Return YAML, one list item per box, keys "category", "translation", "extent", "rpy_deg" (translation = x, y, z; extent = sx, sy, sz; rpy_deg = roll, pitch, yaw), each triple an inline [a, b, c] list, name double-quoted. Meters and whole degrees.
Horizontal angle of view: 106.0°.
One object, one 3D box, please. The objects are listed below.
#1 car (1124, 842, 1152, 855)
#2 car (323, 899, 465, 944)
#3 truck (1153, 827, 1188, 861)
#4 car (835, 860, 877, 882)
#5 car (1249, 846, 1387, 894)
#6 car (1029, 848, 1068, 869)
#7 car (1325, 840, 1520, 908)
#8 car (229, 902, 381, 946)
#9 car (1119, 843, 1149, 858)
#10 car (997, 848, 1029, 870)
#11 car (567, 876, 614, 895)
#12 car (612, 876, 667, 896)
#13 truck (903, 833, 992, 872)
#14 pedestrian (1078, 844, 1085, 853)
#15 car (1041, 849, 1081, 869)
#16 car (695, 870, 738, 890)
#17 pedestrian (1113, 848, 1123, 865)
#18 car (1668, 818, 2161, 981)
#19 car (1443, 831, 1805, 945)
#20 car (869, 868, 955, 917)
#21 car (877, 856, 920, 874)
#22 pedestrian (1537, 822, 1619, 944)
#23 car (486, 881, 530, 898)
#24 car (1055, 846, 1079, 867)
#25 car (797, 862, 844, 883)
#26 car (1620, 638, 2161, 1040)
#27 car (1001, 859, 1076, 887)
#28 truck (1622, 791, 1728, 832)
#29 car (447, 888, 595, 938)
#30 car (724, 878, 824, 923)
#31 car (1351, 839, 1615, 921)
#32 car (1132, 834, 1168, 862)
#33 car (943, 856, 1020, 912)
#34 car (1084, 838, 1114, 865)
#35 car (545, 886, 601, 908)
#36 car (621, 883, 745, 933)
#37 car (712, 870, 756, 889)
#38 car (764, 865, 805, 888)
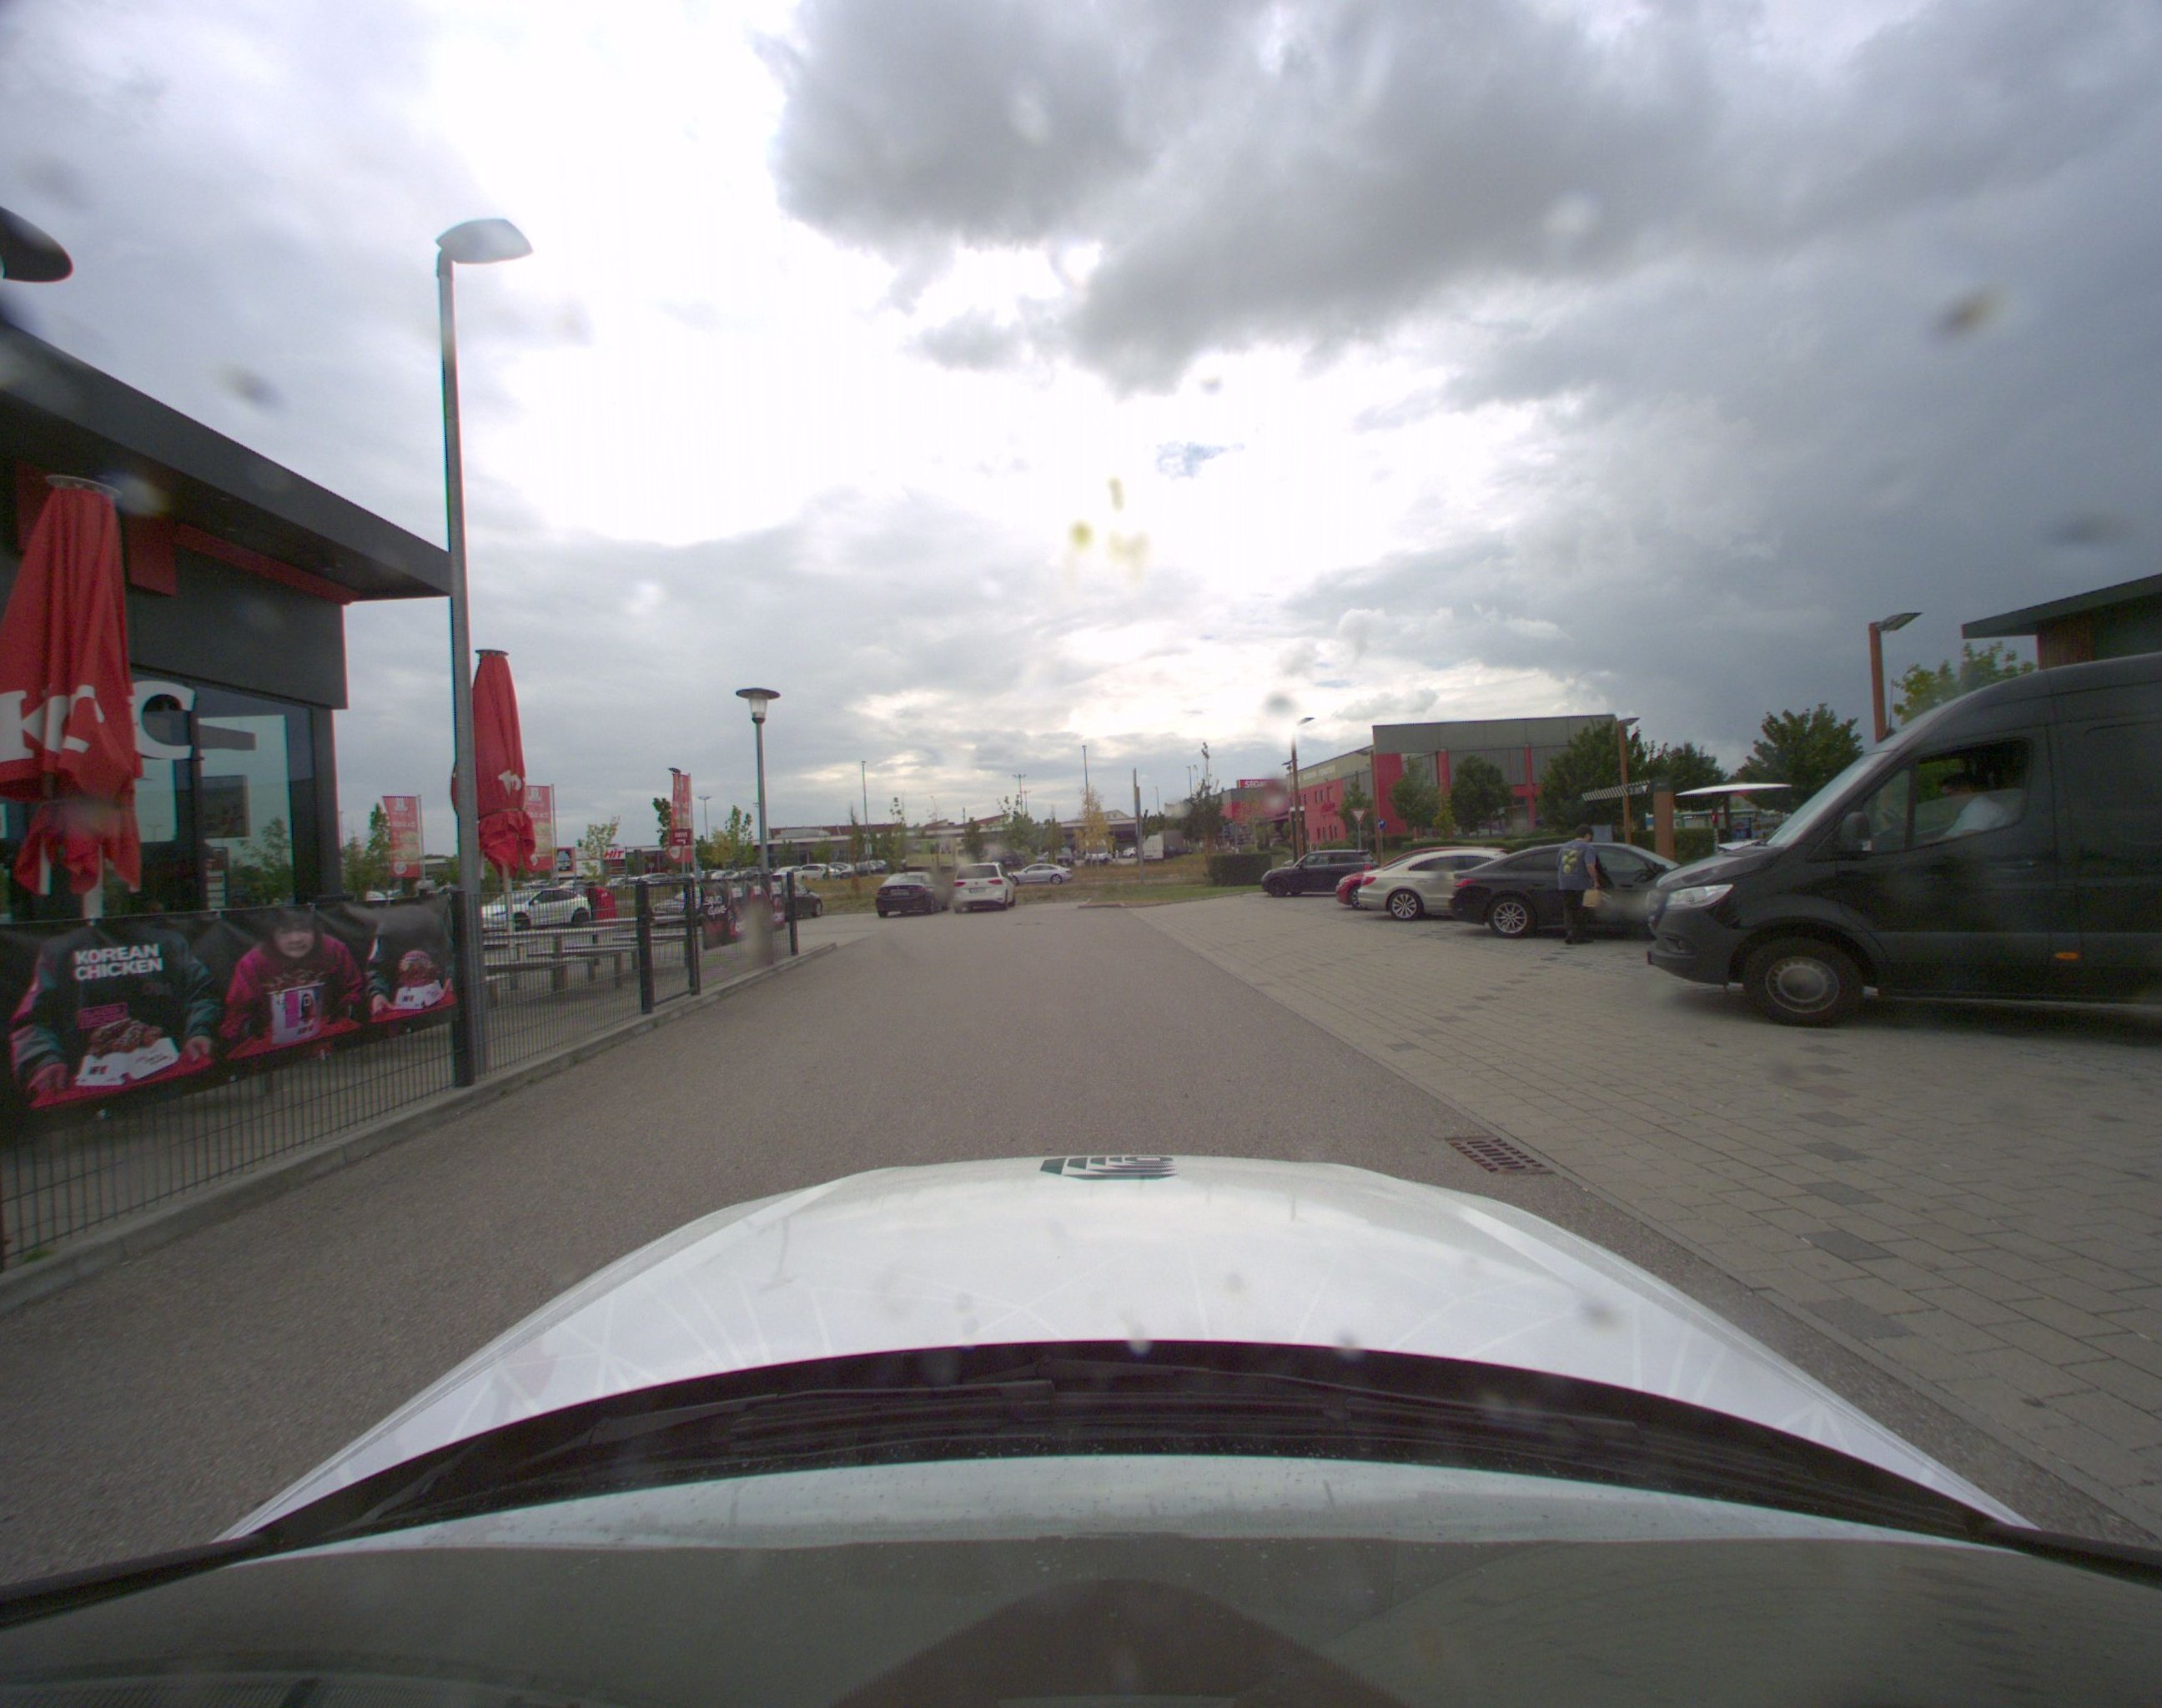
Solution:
- category: "car"
  translation: [8.427, -0.806, 121.220]
  extent: [3.972, 1.736, 1.935]
  rpy_deg: [-3, 1, 1]
- category: "car"
  translation: [-25.475, 2.470, 30.376]
  extent: [1.722, 1.412, 3.818]
  rpy_deg: [-3, -2, 10]
- category: "truck"
  translation: [10.403, -1.210, 95.409]
  extent: [2.641, 3.742, 8.250]
  rpy_deg: [-3, 1, -2]
- category: "car"
  translation: [-21.140, 1.596, 76.546]
  extent: [1.912, 1.771, 4.336]
  rpy_deg: [-3, 1, 12]
- category: "car"
  translation: [7.594, 0.527, 26.208]
  extent: [3.879, 1.412, 1.698]
  rpy_deg: [-2, 0, 35]
- category: "car"
  translation: [-3.591, 0.432, 89.419]
  extent: [3.985, 2.013, 1.994]
  rpy_deg: [-4, 1, -9]
- category: "car"
  translation: [8.108, 0.486, 19.491]
  extent: [3.948, 1.464, 1.698]
  rpy_deg: [-2, 0, 38]
- category: "car"
  translation: [-30.565, 2.715, 32.236]
  extent: [1.821, 1.412, 3.953]
  rpy_deg: [-3, -2, 13]
- category: "car"
  translation: [7.360, -0.478, 112.672]
  extent: [3.972, 1.837, 2.001]
  rpy_deg: [-3, 1, 1]
- category: "car"
  translation: [-6.183, 0.433, 74.950]
  extent: [2.061, 1.884, 5.077]
  rpy_deg: [-3, 0, 5]
- category: "car"
  translation: [-51.412, 3.297, 85.434]
  extent: [1.982, 1.539, 4.066]
  rpy_deg: [-3, 1, 9]
- category: "car"
  translation: [-41.698, 3.026, 76.953]
  extent: [1.976, 1.539, 4.183]
  rpy_deg: [-3, 1, 21]
- category: "truck"
  translation: [-12.475, -0.131, 75.587]
  extent: [8.322, 3.195, 3.049]
  rpy_deg: [-2, 2, 37]
- category: "pedestrian"
  translation: [0.049, -0.859, 133.781]
  extent: [0.656, 1.429, 0.789]
  rpy_deg: [-4, 1, -38]
- category: "car"
  translation: [-2.081, 0.506, 85.198]
  extent: [3.976, 1.738, 1.890]
  rpy_deg: [-3, 1, -2]
- category: "car"
  translation: [-35.926, 2.541, 80.419]
  extent: [1.754, 1.539, 4.069]
  rpy_deg: [-3, 1, 12]
- category: "pedestrian"
  translation: [3.335, 0.211, 73.785]
  extent: [0.782, 1.429, 0.978]
  rpy_deg: [-3, 1, 0]
- category: "car"
  translation: [8.927, 0.440, 8.920]
  extent: [3.948, 1.451, 1.698]
  rpy_deg: [-2, 0, 38]
- category: "car"
  translation: [8.129, 0.480, 12.508]
  extent: [4.350, 1.463, 1.698]
  rpy_deg: [-2, 0, 39]
- category: "car"
  translation: [-5.805, 1.318, 28.603]
  extent: [1.934, 1.466, 4.516]
  rpy_deg: [-3, -2, 1]
- category: "car"
  translation: [-20.453, 1.218, 91.584]
  extent: [4.294, 1.771, 1.999]
  rpy_deg: [-3, 1, -1]
- category: "pedestrian"
  translation: [7.144, 0.409, 11.711]
  extent: [0.832, 1.678, 0.754]
  rpy_deg: [-3, -2, 40]
- category: "car"
  translation: [-74.970, 4.653, 106.543]
  extent: [4.164, 1.837, 1.998]
  rpy_deg: [-3, 1, -4]
- category: "car"
  translation: [-1.286, 0.185, 74.088]
  extent: [2.065, 1.638, 5.068]
  rpy_deg: [-3, 1, -1]
- category: "car"
  translation: [-26.464, 1.892, 82.718]
  extent: [3.958, 1.771, 2.008]
  rpy_deg: [-3, 1, 15]
- category: "car"
  translation: [7.992, -0.133, 5.605]
  extent: [6.922, 2.553, 2.086]
  rpy_deg: [-2, 0, 38]
- category: "car"
  translation: [-2.828, 1.278, 54.977]
  extent: [4.821, 1.551, 1.803]
  rpy_deg: [-3, 1, 1]
- category: "truck"
  translation: [71.791, -4.989, 98.947]
  extent: [3.744, 4.498, 11.994]
  rpy_deg: [-3, 1, -1]
- category: "car"
  translation: [-20.551, 2.123, 30.158]
  extent: [1.909, 1.541, 4.555]
  rpy_deg: [-3, -2, 8]
- category: "car"
  translation: [-10.701, 1.588, 28.735]
  extent: [1.875, 1.412, 4.071]
  rpy_deg: [-3, -2, 1]
- category: "car"
  translation: [7.918, 0.513, 16.252]
  extent: [4.402, 1.412, 1.765]
  rpy_deg: [-2, 0, 38]
- category: "car"
  translation: [6.207, -0.597, 74.414]
  extent: [2.333, 2.267, 6.499]
  rpy_deg: [-3, 1, -3]
- category: "car"
  translation: [-3.405, 1.033, 28.666]
  extent: [1.979, 1.713, 4.373]
  rpy_deg: [-3, -2, 1]
- category: "car"
  translation: [1.617, -0.283, 74.390]
  extent: [2.401, 2.214, 6.057]
  rpy_deg: [-3, 1, -1]
- category: "car"
  translation: [-37.421, 3.165, 60.014]
  extent: [3.422, 1.370, 1.439]
  rpy_deg: [-3, 1, 16]
- category: "car"
  translation: [-13.745, 1.818, 28.481]
  extent: [1.898, 1.456, 4.742]
  rpy_deg: [-3, -2, 1]
- category: "car"
  translation: [-33.801, 2.439, 79.433]
  extent: [1.754, 1.539, 4.069]
  rpy_deg: [-3, 1, 12]
- category: "car"
  translation: [-28.357, 2.130, 78.124]
  extent: [1.985, 1.771, 4.326]
  rpy_deg: [-3, 1, 4]
